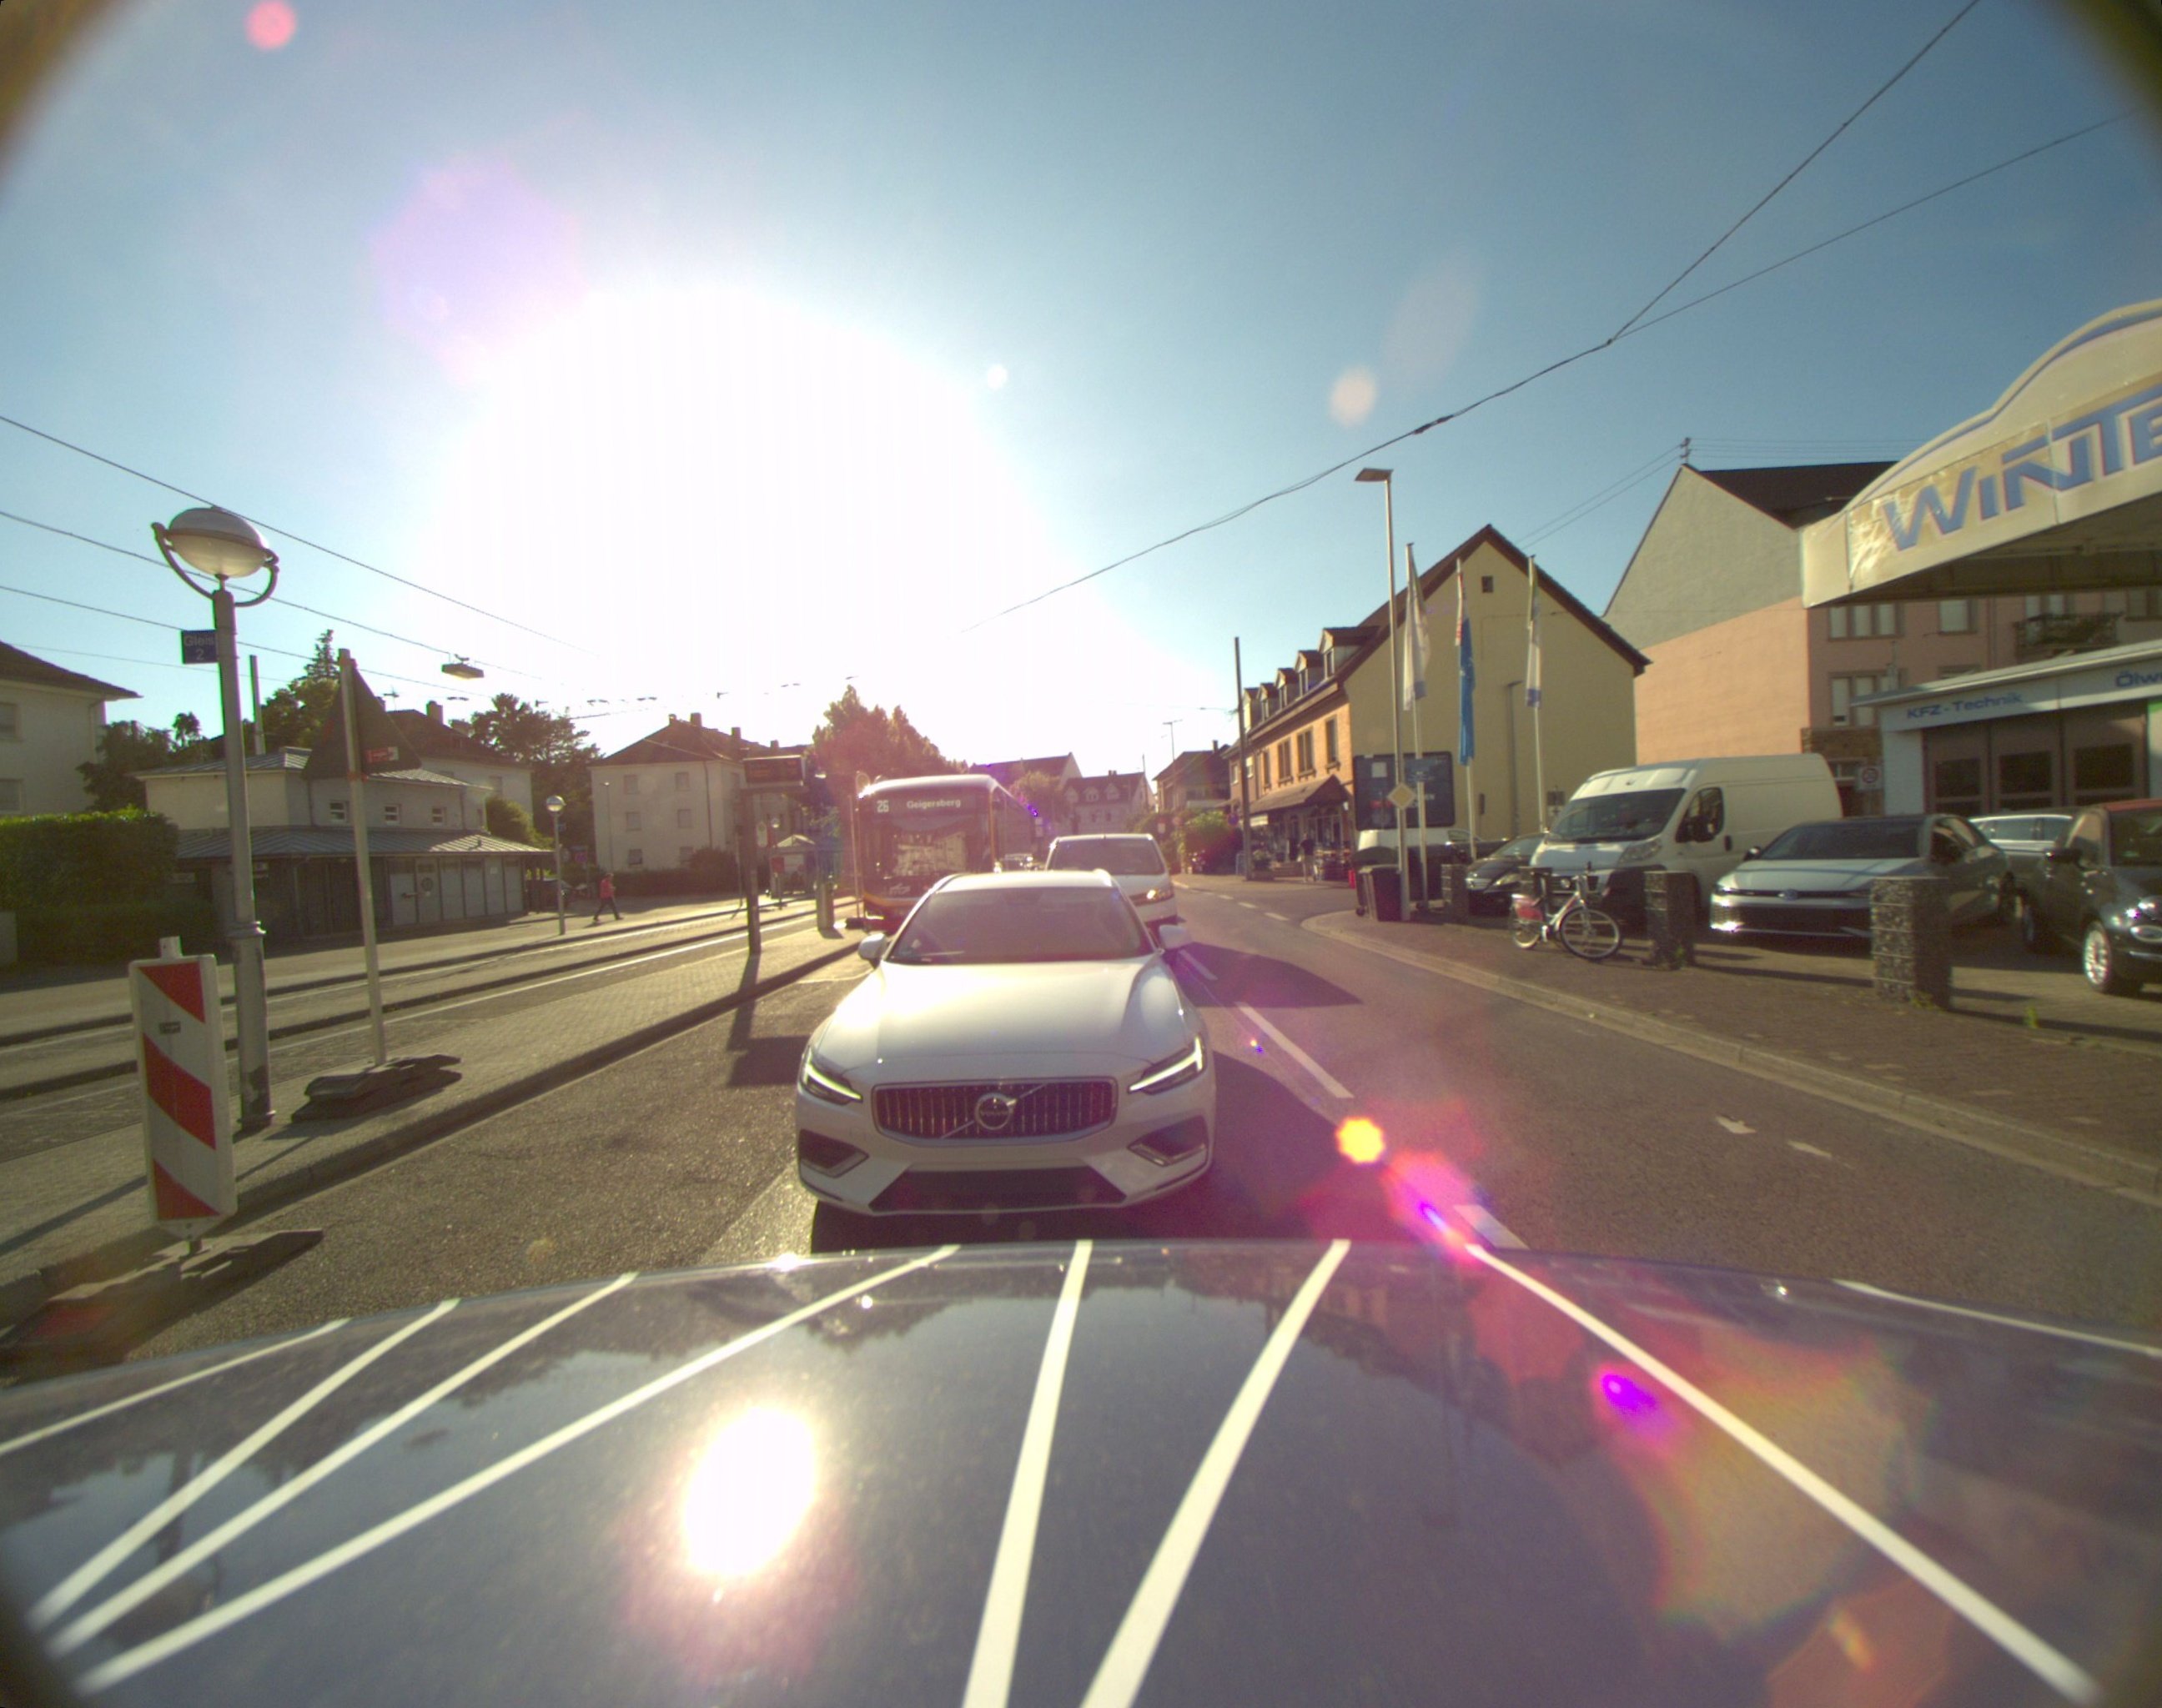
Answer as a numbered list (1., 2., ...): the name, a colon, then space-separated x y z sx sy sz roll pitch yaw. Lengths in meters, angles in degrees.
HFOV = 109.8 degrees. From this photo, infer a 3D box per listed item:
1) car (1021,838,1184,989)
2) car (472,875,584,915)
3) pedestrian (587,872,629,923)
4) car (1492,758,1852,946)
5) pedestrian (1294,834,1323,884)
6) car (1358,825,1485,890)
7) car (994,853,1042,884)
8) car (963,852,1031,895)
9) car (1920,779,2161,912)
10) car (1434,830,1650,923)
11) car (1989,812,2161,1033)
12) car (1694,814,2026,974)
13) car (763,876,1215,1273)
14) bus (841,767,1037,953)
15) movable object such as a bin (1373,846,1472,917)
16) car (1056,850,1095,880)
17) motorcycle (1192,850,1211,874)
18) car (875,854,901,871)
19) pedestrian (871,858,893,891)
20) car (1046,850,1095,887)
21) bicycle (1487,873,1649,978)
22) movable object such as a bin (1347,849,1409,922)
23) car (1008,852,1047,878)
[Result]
1. car: 0.304 0.733 12.010 1.969 1.816 5.033 -2 0 1
2. car: -27.687 2.046 38.139 4.052 1.663 2.000 -4 1 2
3. pedestrian: -16.766 1.537 26.944 0.841 1.708 0.825 -2 1 4
4. car: 9.144 -0.134 11.760 4.997 2.440 2.111 -3 1 -22
5. pedestrian: 8.606 0.181 28.757 0.822 1.842 0.767 -2 1 -1
6. car: 11.566 0.098 25.922 3.672 2.002 1.451 -2 1 -3
7. car: -3.228 0.705 39.889 1.969 1.450 4.824 -2 0 1
8. car: -3.150 0.705 29.500 1.969 1.450 4.824 -2 0 1
9. car: 16.481 -0.172 11.988 1.742 1.933 4.257 -3 1 -1
10. car: 8.968 0.374 14.747 4.036 1.469 1.739 -3 1 -28
11. car: 9.077 0.412 6.165 1.590 1.488 3.442 -2 1 40
12. car: 9.491 0.360 9.211 4.036 1.488 1.739 -3 1 -28
13. car: -0.352 0.981 5.256 1.821 1.446 4.217 -2 0 1
14. bus: -2.918 0.094 19.833 2.748 3.284 12.030 -2 0 0
15. movable object such as a bin: 7.594 0.579 16.914 1.798 1.456 1.046 -3 1 -25
16. car: -0.251 0.566 41.508 1.969 1.450 4.824 -2 0 1
17. motorcycle: 6.354 0.418 40.119 0.708 1.210 2.186 -2 1 3
18. car: -23.259 1.018 91.773 1.998 1.853 3.999 -2 1 1
19. pedestrian: -10.046 1.028 38.335 0.826 1.601 0.840 -3 1 -30
20. car: -0.390 0.583 33.261 1.969 1.450 4.824 -2 0 1
21. bicycle: 5.882 0.814 9.313 0.725 1.080 1.791 -3 1 -3
22. movable object such as a bin: 6.237 0.641 15.950 1.045 1.456 0.797 -2 1 32
23. car: -3.270 0.631 47.304 1.969 1.450 4.824 -2 0 1
